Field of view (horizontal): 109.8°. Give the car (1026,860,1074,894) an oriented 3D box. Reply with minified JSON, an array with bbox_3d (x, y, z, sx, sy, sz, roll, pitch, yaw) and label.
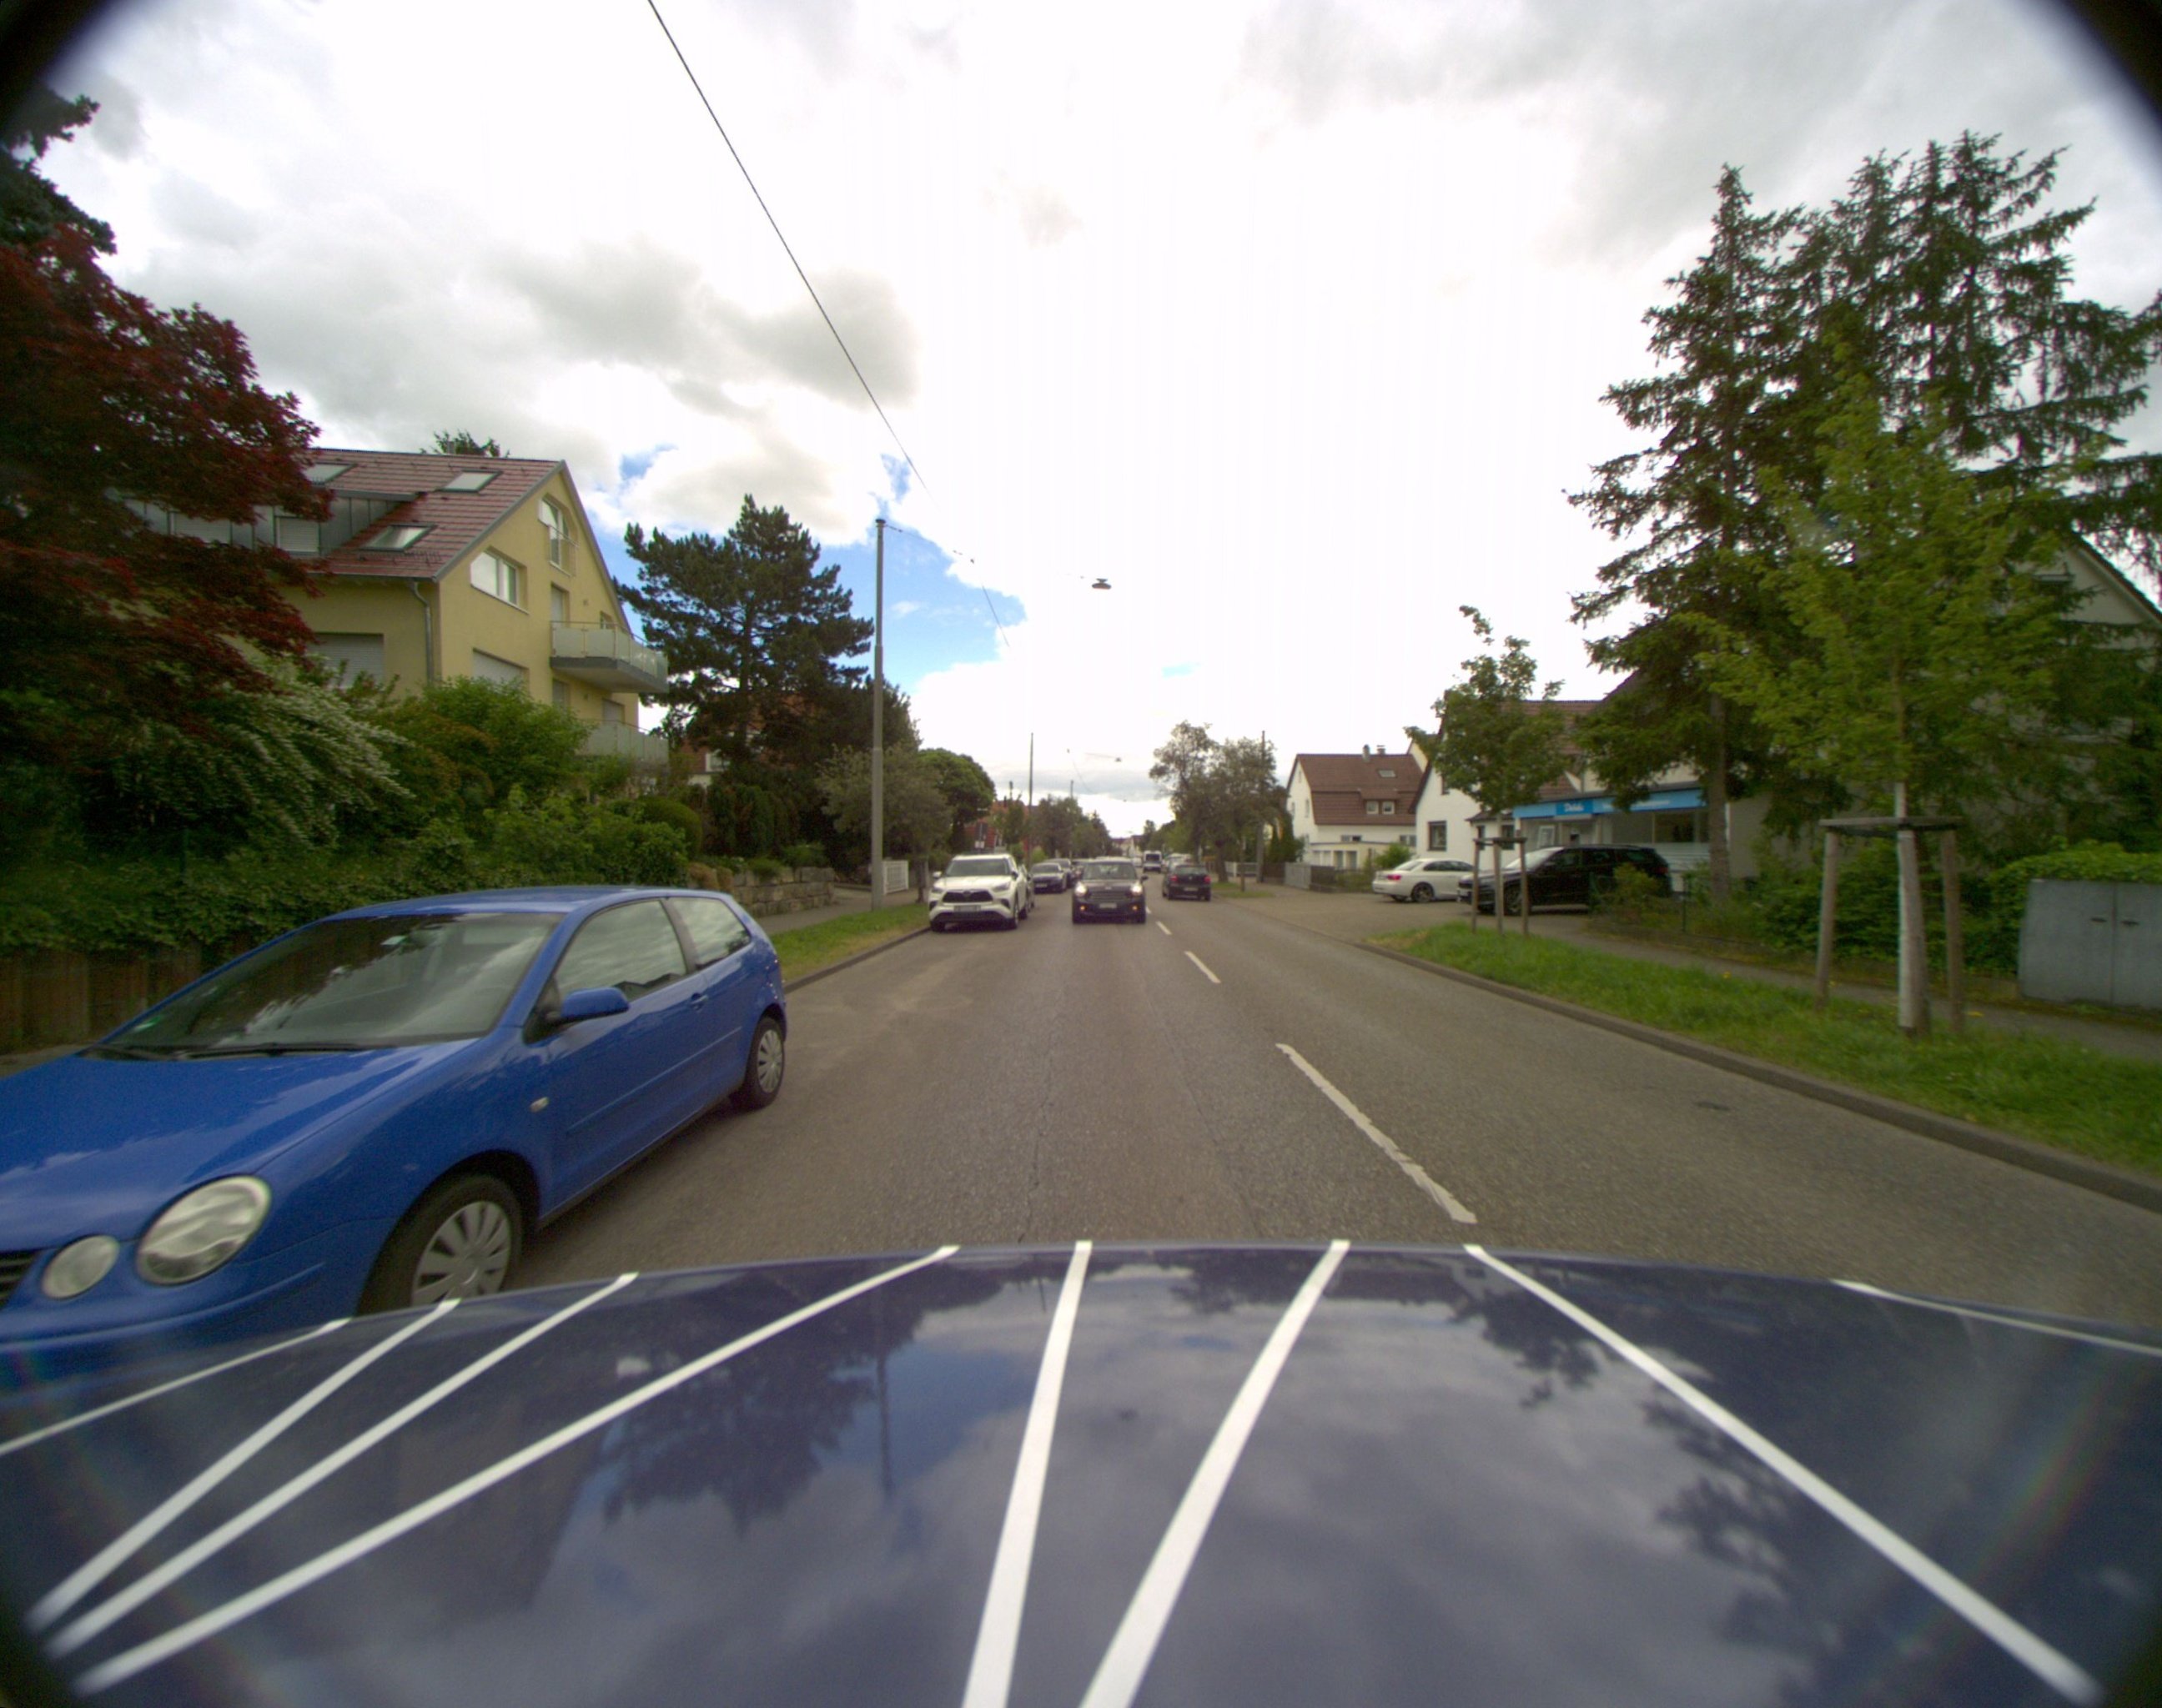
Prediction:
[{"bbox_3d":[-1.438,1.069,36.498,1.834,1.448,4.551,-2,0,3],"label":"car"}]

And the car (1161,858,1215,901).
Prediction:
[{"bbox_3d":[4.151,0.951,29.957,1.579,1.464,3.470,2,1,0],"label":"car"}]

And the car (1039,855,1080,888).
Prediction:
[{"bbox_3d":[-1.140,0.957,42.686,1.834,1.702,4.550,-1,0,4],"label":"car"}]

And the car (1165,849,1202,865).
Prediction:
[{"bbox_3d":[17.233,0.509,127.861,5.609,2.549,2.134,2,1,22],"label":"car"}]

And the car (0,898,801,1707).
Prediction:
[{"bbox_3d":[-2.810,1.054,3.401,1.631,1.443,3.875,-2,0,0],"label":"car"}]

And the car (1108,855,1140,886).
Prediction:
[{"bbox_3d":[2.350,0.866,41.054,1.589,1.598,3.686,0,0,5],"label":"car"}]

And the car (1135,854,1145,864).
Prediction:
[{"bbox_3d":[10.531,0.840,135.066,1.799,1.741,4.300,1,0,4],"label":"car"}]

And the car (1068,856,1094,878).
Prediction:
[{"bbox_3d":[0.007,0.980,59.636,1.691,1.600,4.110,-2,0,4],"label":"car"}]

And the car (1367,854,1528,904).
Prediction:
[{"bbox_3d":[11.675,0.759,24.381,4.290,1.360,1.816,-2,1,-3],"label":"car"}]

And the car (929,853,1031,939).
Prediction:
[{"bbox_3d":[-2.294,0.886,18.443,1.803,1.767,4.705,-2,0,0],"label":"car"}]

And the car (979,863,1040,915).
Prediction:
[{"bbox_3d":[-2.173,1.057,23.953,1.562,1.434,3.506,-2,0,0],"label":"car"}]

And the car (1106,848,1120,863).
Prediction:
[{"bbox_3d":[4.364,0.213,101.765,1.779,1.932,4.790,-1,0,3],"label":"car"}]

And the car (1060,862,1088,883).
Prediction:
[{"bbox_3d":[-0.402,1.166,49.423,1.484,1.229,3.885,-2,0,4],"label":"car"}]

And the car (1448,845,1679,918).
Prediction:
[{"bbox_3d":[11.669,0.635,18.645,4.342,1.608,1.974,-1,1,5],"label":"car"}]

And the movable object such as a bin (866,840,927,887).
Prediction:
[{"bbox_3d":[-8.232,0.420,34.024,2.316,2.002,1.343,-2,1,-1],"label":"movable object such as a bin"}]

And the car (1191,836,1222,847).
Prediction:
[{"bbox_3d":[20.090,-1.961,121.923,4.643,1.611,2.001,-1,-1,2],"label":"car"}]

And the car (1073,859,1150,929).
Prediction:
[{"bbox_3d":[0.858,0.932,19.300,1.743,1.573,3.686,-1,0,5],"label":"car"}]

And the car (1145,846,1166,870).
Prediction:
[{"bbox_3d":[8.418,0.409,86.548,2.078,2.567,5.301,2,0,3],"label":"car"}]

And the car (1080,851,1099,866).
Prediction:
[{"bbox_3d":[0.937,0.461,79.303,1.697,1.445,4.406,-2,0,4],"label":"car"}]
